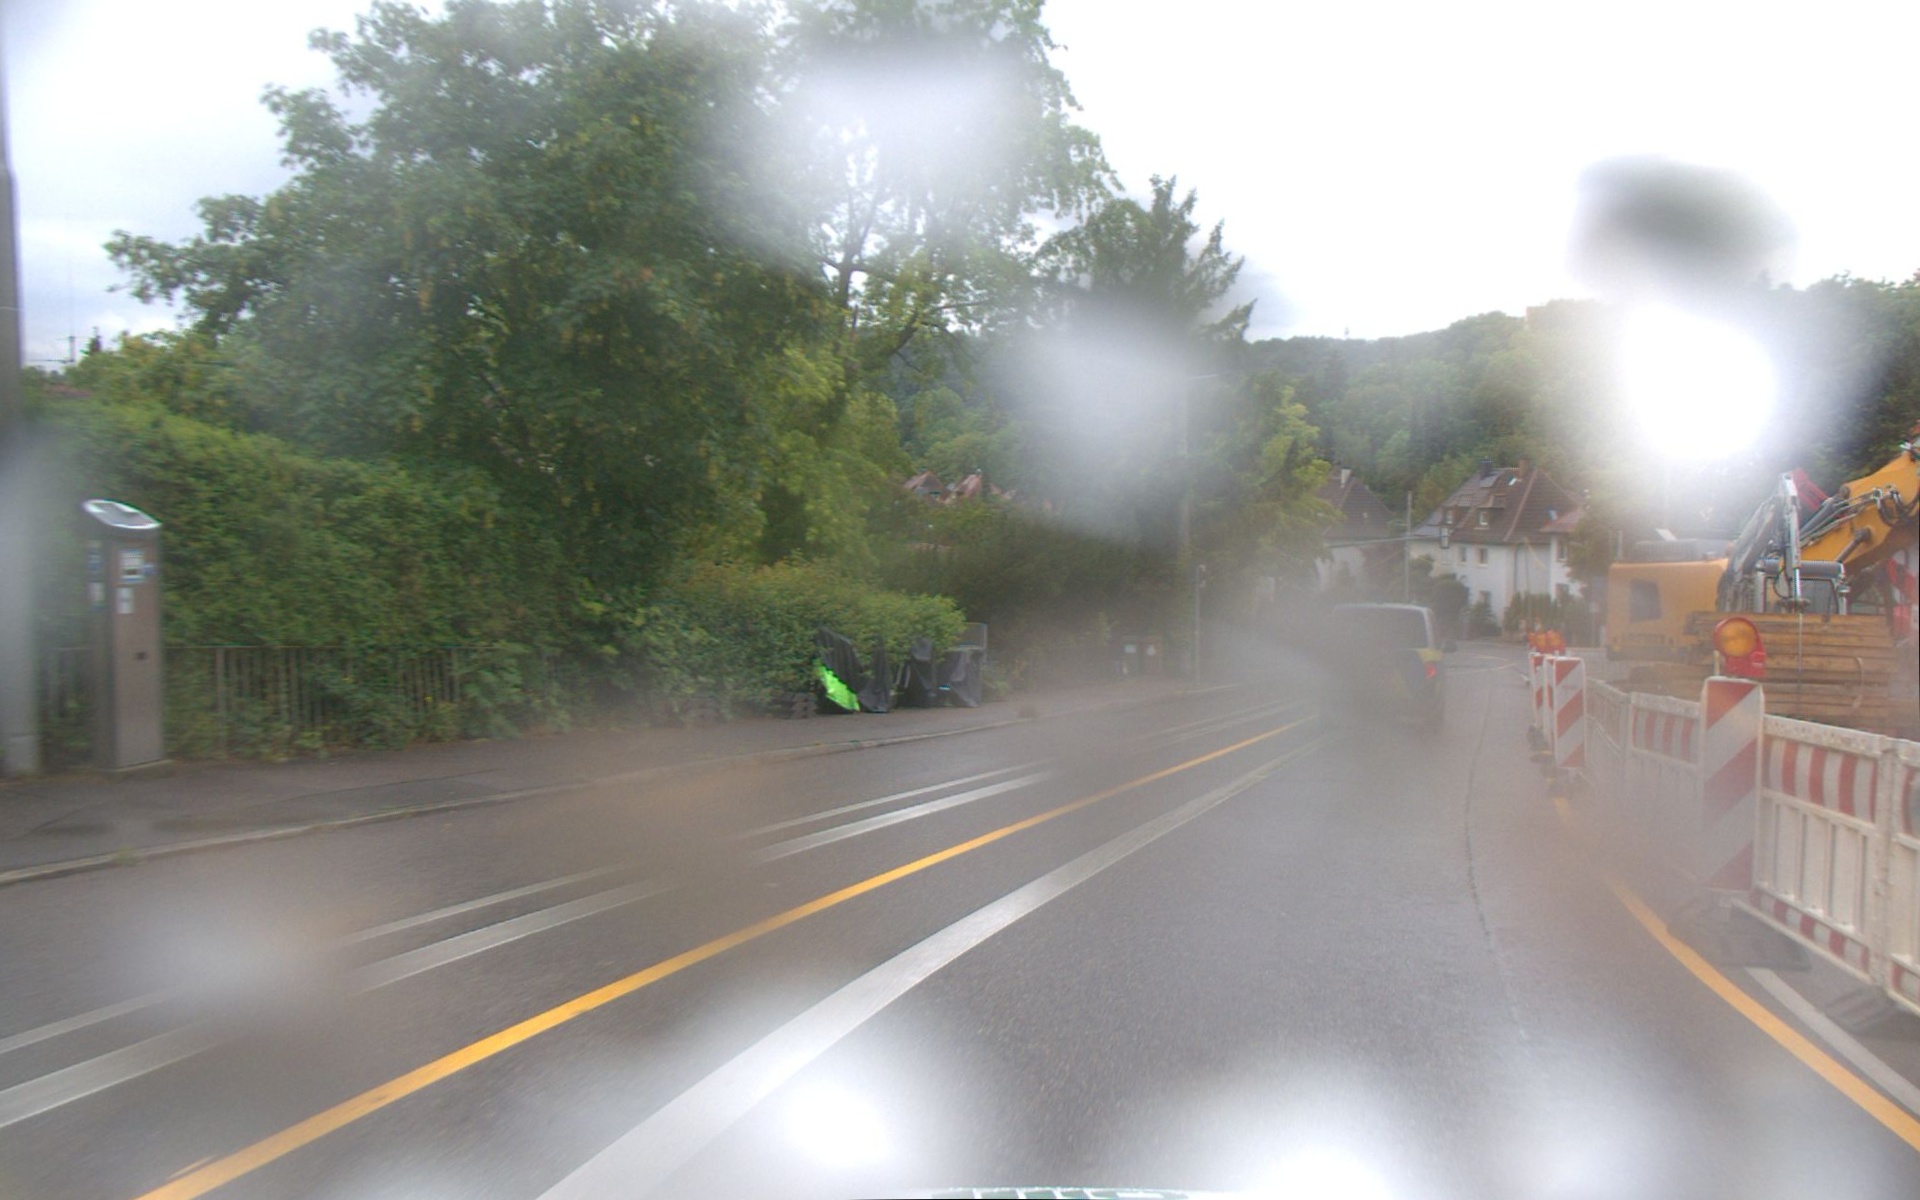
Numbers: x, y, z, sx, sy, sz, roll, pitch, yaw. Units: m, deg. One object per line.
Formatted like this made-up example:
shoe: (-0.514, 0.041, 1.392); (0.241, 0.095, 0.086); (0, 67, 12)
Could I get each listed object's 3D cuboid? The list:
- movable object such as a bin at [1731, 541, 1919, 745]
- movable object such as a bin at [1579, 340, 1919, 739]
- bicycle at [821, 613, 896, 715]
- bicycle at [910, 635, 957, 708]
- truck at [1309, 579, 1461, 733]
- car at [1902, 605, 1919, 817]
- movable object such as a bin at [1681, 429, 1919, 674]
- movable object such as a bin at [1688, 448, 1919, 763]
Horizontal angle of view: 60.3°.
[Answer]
movable object such as a bin: (16.110, 0.712, 29.149); (3.902, 3.258, 2.411); (2, 5, 9)
movable object such as a bin: (13.089, -0.661, 22.223); (3.009, 5.005, 10.765); (3, -3, -17)
bicycle: (-1.415, 0.904, 23.352); (0.411, 1.373, 1.743); (1, -2, 18)
bicycle: (-0.412, 1.140, 26.488); (0.331, 1.127, 1.256); (1, -2, 18)
truck: (7.050, 0.806, 27.085); (1.952, 2.048, 4.737); (0, 3, 20)
car: (8.532, 0.942, 12.017); (1.952, 1.810, 4.999); (1, 0, 18)
movable object such as a bin: (24.865, -1.350, 47.954); (6.802, 6.807, 3.047); (1, -1, 15)
movable object such as a bin: (10.060, 0.152, 19.681); (1.951, 3.363, 3.837); (1, -3, 14)
